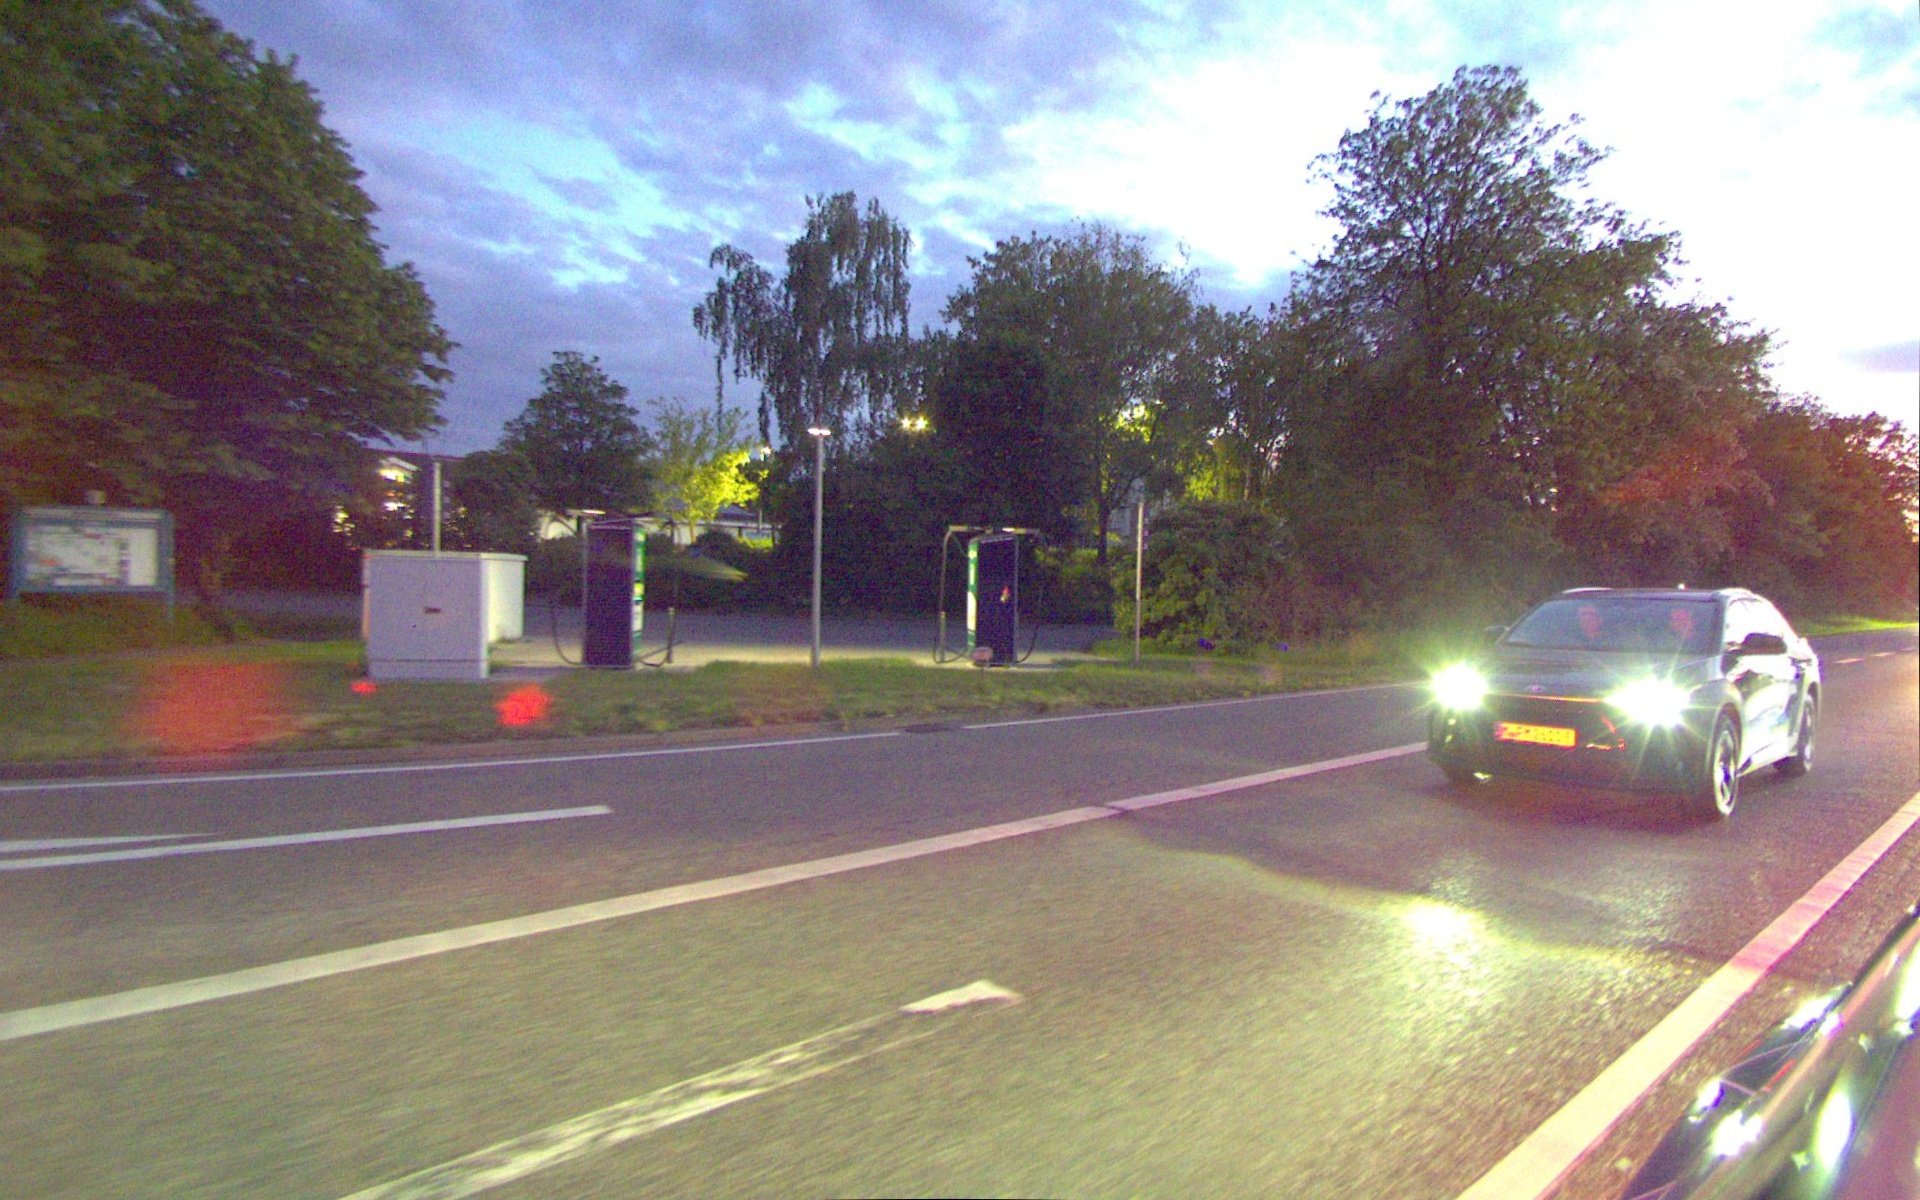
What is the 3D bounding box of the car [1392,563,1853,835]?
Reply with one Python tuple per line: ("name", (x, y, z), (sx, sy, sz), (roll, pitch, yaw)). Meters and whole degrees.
("car", (5.632, 0.581, 8.335), (4.629, 1.630, 1.997), (0, 0, -41))
